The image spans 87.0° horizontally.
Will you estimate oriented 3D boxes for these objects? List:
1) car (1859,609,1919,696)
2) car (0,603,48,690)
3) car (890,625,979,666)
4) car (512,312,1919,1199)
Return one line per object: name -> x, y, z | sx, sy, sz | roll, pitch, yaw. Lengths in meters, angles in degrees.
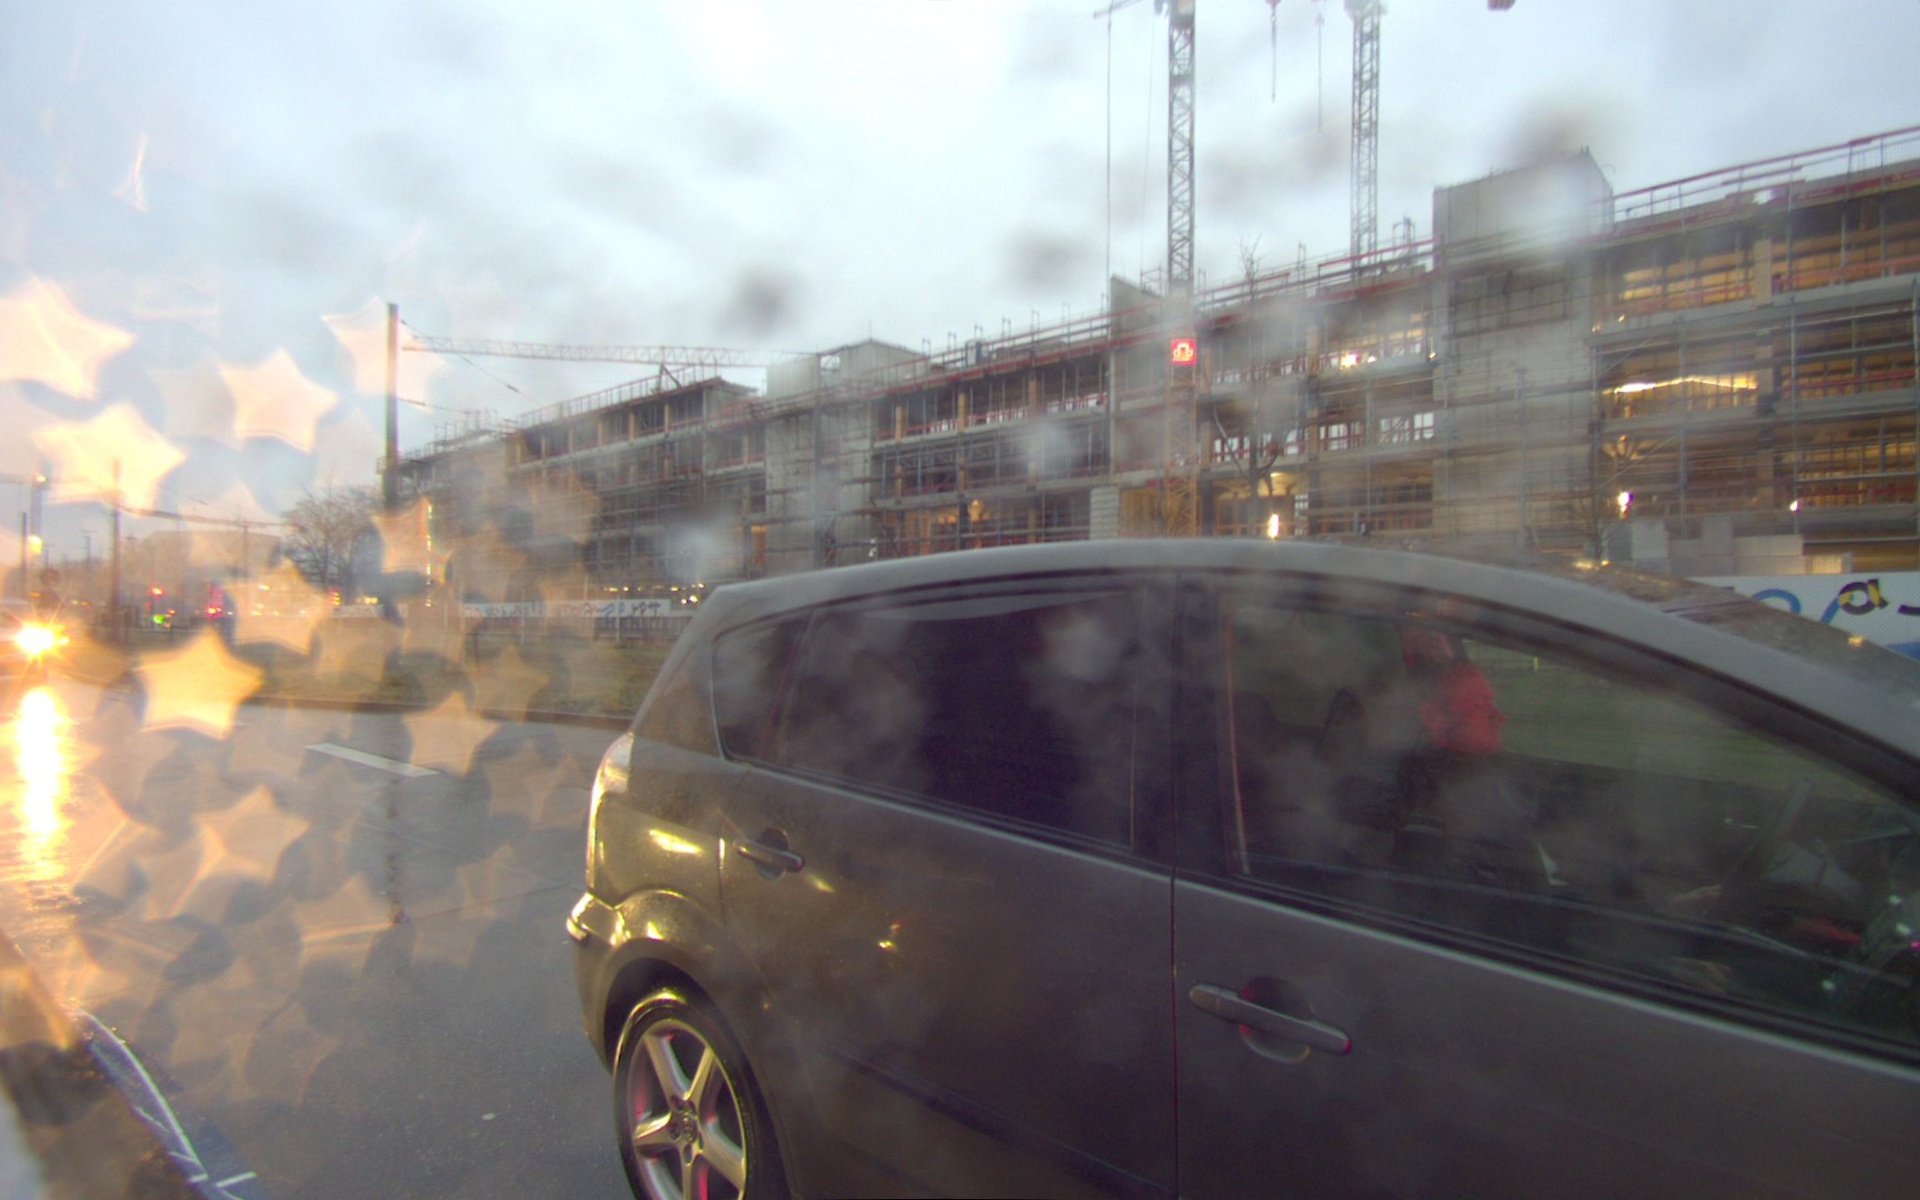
car -> 20.485, 1.030, 19.925 | 4.085, 1.700, 1.930 | -1, 0, 44
car -> -21.097, 0.971, 21.785 | 4.000, 1.746, 1.833 | -1, 0, 43
car -> -1.261, 2.141, 48.287 | 4.000, 1.785, 1.972 | -1, 0, 43
car -> 1.026, 0.553, 1.830 | 3.996, 1.606, 1.742 | -1, 0, 39
